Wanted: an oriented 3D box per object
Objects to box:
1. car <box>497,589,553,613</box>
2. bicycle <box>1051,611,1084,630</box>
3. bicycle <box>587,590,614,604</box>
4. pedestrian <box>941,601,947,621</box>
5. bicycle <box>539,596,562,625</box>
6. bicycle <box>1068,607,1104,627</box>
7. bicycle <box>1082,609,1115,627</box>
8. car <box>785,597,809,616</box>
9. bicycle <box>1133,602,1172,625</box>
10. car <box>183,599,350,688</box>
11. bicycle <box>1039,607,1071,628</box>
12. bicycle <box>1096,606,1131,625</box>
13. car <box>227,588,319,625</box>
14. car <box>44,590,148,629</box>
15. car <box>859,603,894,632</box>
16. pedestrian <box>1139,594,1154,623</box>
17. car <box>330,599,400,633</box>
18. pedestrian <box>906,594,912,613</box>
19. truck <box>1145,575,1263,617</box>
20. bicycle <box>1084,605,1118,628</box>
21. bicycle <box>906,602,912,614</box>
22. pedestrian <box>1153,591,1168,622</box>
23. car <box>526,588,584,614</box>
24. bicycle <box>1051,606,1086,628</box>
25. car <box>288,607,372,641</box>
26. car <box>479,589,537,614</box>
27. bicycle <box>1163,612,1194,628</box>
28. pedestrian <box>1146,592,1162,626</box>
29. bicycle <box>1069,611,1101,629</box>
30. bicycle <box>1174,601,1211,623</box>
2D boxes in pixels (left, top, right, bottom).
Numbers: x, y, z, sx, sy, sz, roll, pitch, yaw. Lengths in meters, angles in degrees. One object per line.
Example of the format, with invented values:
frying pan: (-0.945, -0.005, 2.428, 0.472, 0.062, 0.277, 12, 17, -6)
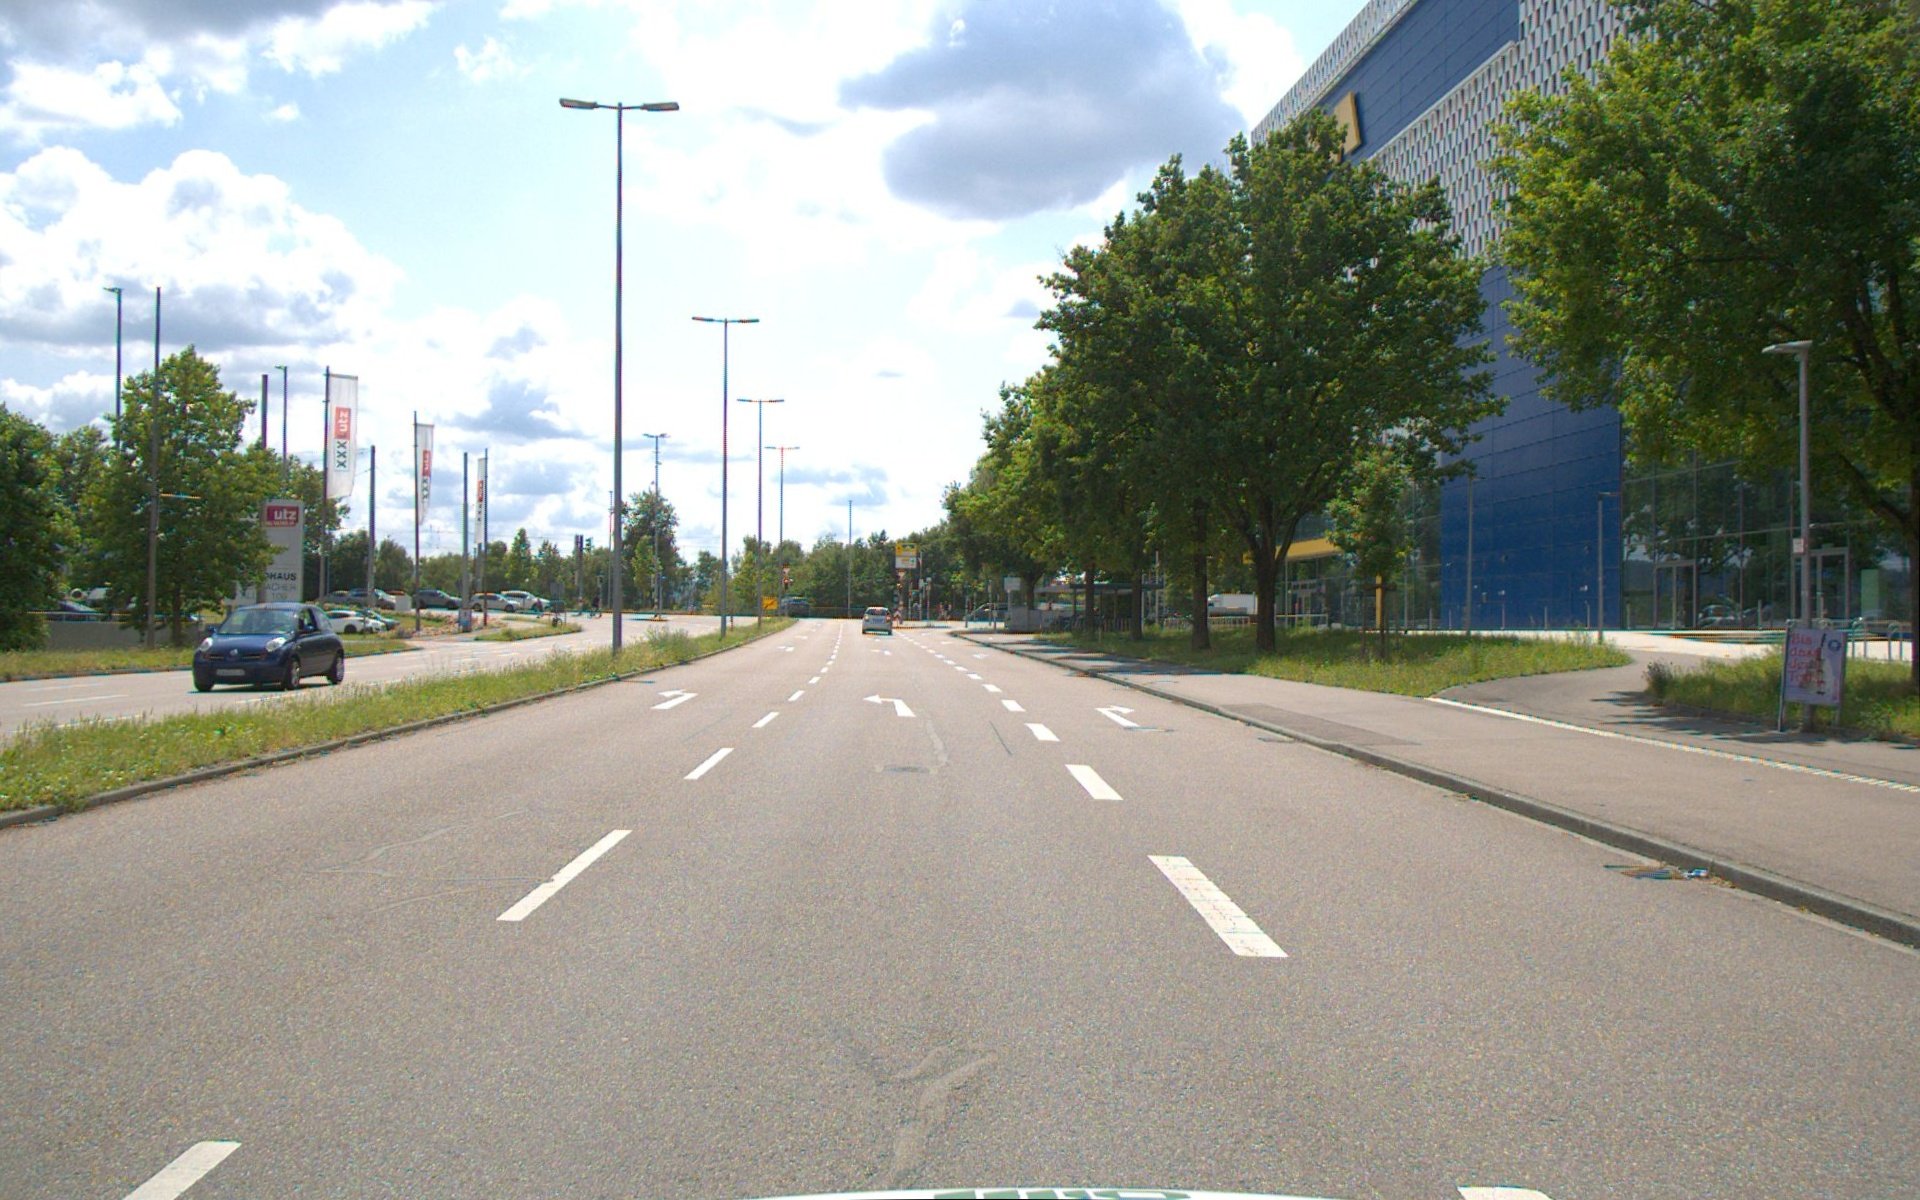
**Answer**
car: (-36.446, 0.082, 138.780, 4.264, 2.024, 1.998, 0, 0, -5)
bicycle: (6.093, 1.161, 93.956, 1.827, 1.012, 0.423, -1, 0, -9)
bicycle: (-27.781, -0.236, 127.847, 1.977, 1.017, 0.621, 2, -1, -5)
pedestrian: (-1.381, 1.012, 146.776, 0.512, 1.751, 0.730, 0, 0, -1)
bicycle: (-25.064, 0.633, 101.238, 0.997, 1.705, 2.047, 0, 0, -4)
bicycle: (6.567, 0.879, 86.355, 1.827, 1.012, 0.423, -2, 0, -9)
bicycle: (7.869, 1.022, 93.904, 1.827, 1.012, 0.423, 0, -2, -9)
car: (-14.173, 0.538, 143.396, 1.859, 1.495, 3.827, 2, 0, -8)
bicycle: (9.968, 0.703, 85.679, 1.973, 1.127, 0.575, -2, -1, 34)
car: (-12.520, 0.779, 30.087, 1.705, 1.501, 3.672, 0, -1, -4)
bicycle: (5.578, 1.032, 97.389, 1.827, 1.208, 0.423, 0, 0, -9)
bicycle: (8.425, 0.839, 90.618, 1.827, 1.012, 0.423, -1, -1, -9)
car: (-37.700, 0.353, 90.833, 4.264, 2.024, 1.998, 0, 0, -5)
car: (-47.045, 0.541, 90.116, 4.493, 2.024, 1.998, 1, -1, -5)
car: (-4.762, 0.966, 93.916, 1.857, 1.495, 3.831, 2, 0, -4)
pedestrian: (12.776, 0.603, 113.195, 0.986, 1.936, 0.975, 0, -3, 9)
car: (-36.832, 0.987, 102.444, 3.921, 2.049, 1.992, 0, 0, -15)
pedestrian: (-4.745, 0.344, 154.121, 0.599, 1.800, 0.672, 0, 0, -3)
truck: (25.061, -0.374, 170.059, 11.722, 4.176, 2.950, 1, 0, -4)
bicycle: (7.914, 0.922, 92.684, 1.827, 1.253, 0.423, -1, 0, -9)
bicycle: (-4.753, 0.710, 154.155, 0.606, 1.106, 1.721, 1, 0, -2)
pedestrian: (13.811, 0.482, 113.928, 0.986, 2.109, 0.975, 0, -2, 9)
car: (-32.395, 0.103, 132.364, 4.264, 2.024, 1.998, 0, 0, -5)
bicycle: (5.896, 0.917, 90.238, 1.858, 1.190, 0.423, -1, 0, -3)
car: (-37.361, 1.410, 98.133, 4.264, 2.024, 1.998, 0, 0, -5)
car: (-37.070, 0.107, 135.785, 4.264, 2.024, 1.998, 0, 0, -5)
bicycle: (13.582, 1.226, 102.819, 1.827, 1.012, 0.464, 0, 0, -9)
pedestrian: (10.107, 0.448, 86.125, 0.621, 1.752, 0.523, -2, -2, 32)
bicycle: (7.205, 1.145, 95.260, 1.827, 1.012, 0.423, -1, 0, -9)
bicycle: (13.561, 0.696, 96.503, 2.095, 1.251, 0.721, -1, 0, 6)
